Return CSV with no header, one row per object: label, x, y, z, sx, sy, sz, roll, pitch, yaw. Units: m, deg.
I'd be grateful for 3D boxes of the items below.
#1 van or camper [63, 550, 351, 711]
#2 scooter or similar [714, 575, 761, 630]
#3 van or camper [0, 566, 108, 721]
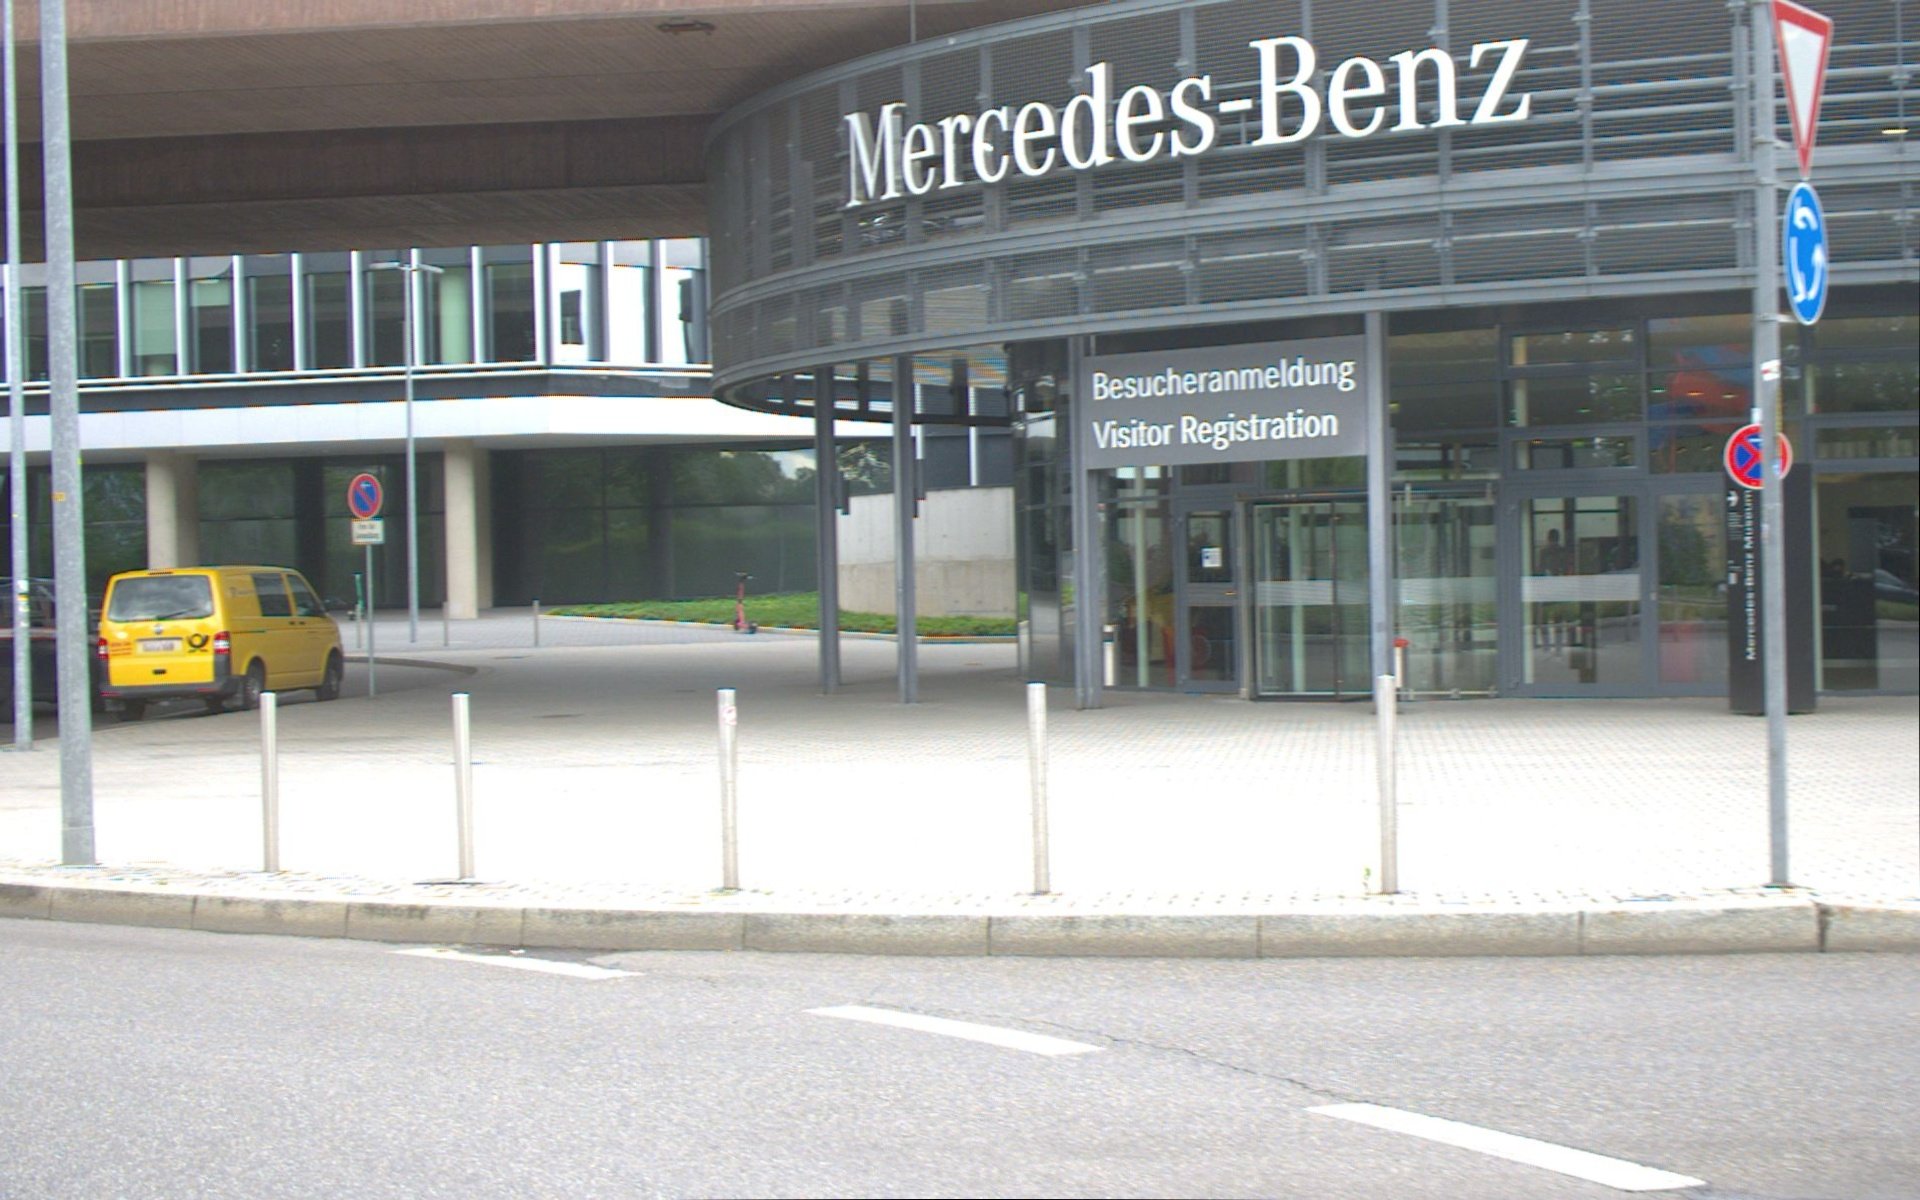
van or camper,-9.952,0.351,45.843,2.355,1.992,4.504,0,1,8
scooter or similar,-4.639,0.052,71.619,0.698,1.101,1.502,-1,1,-15
van or camper,-13.068,0.524,45.611,2.147,1.886,4.901,0,1,2
